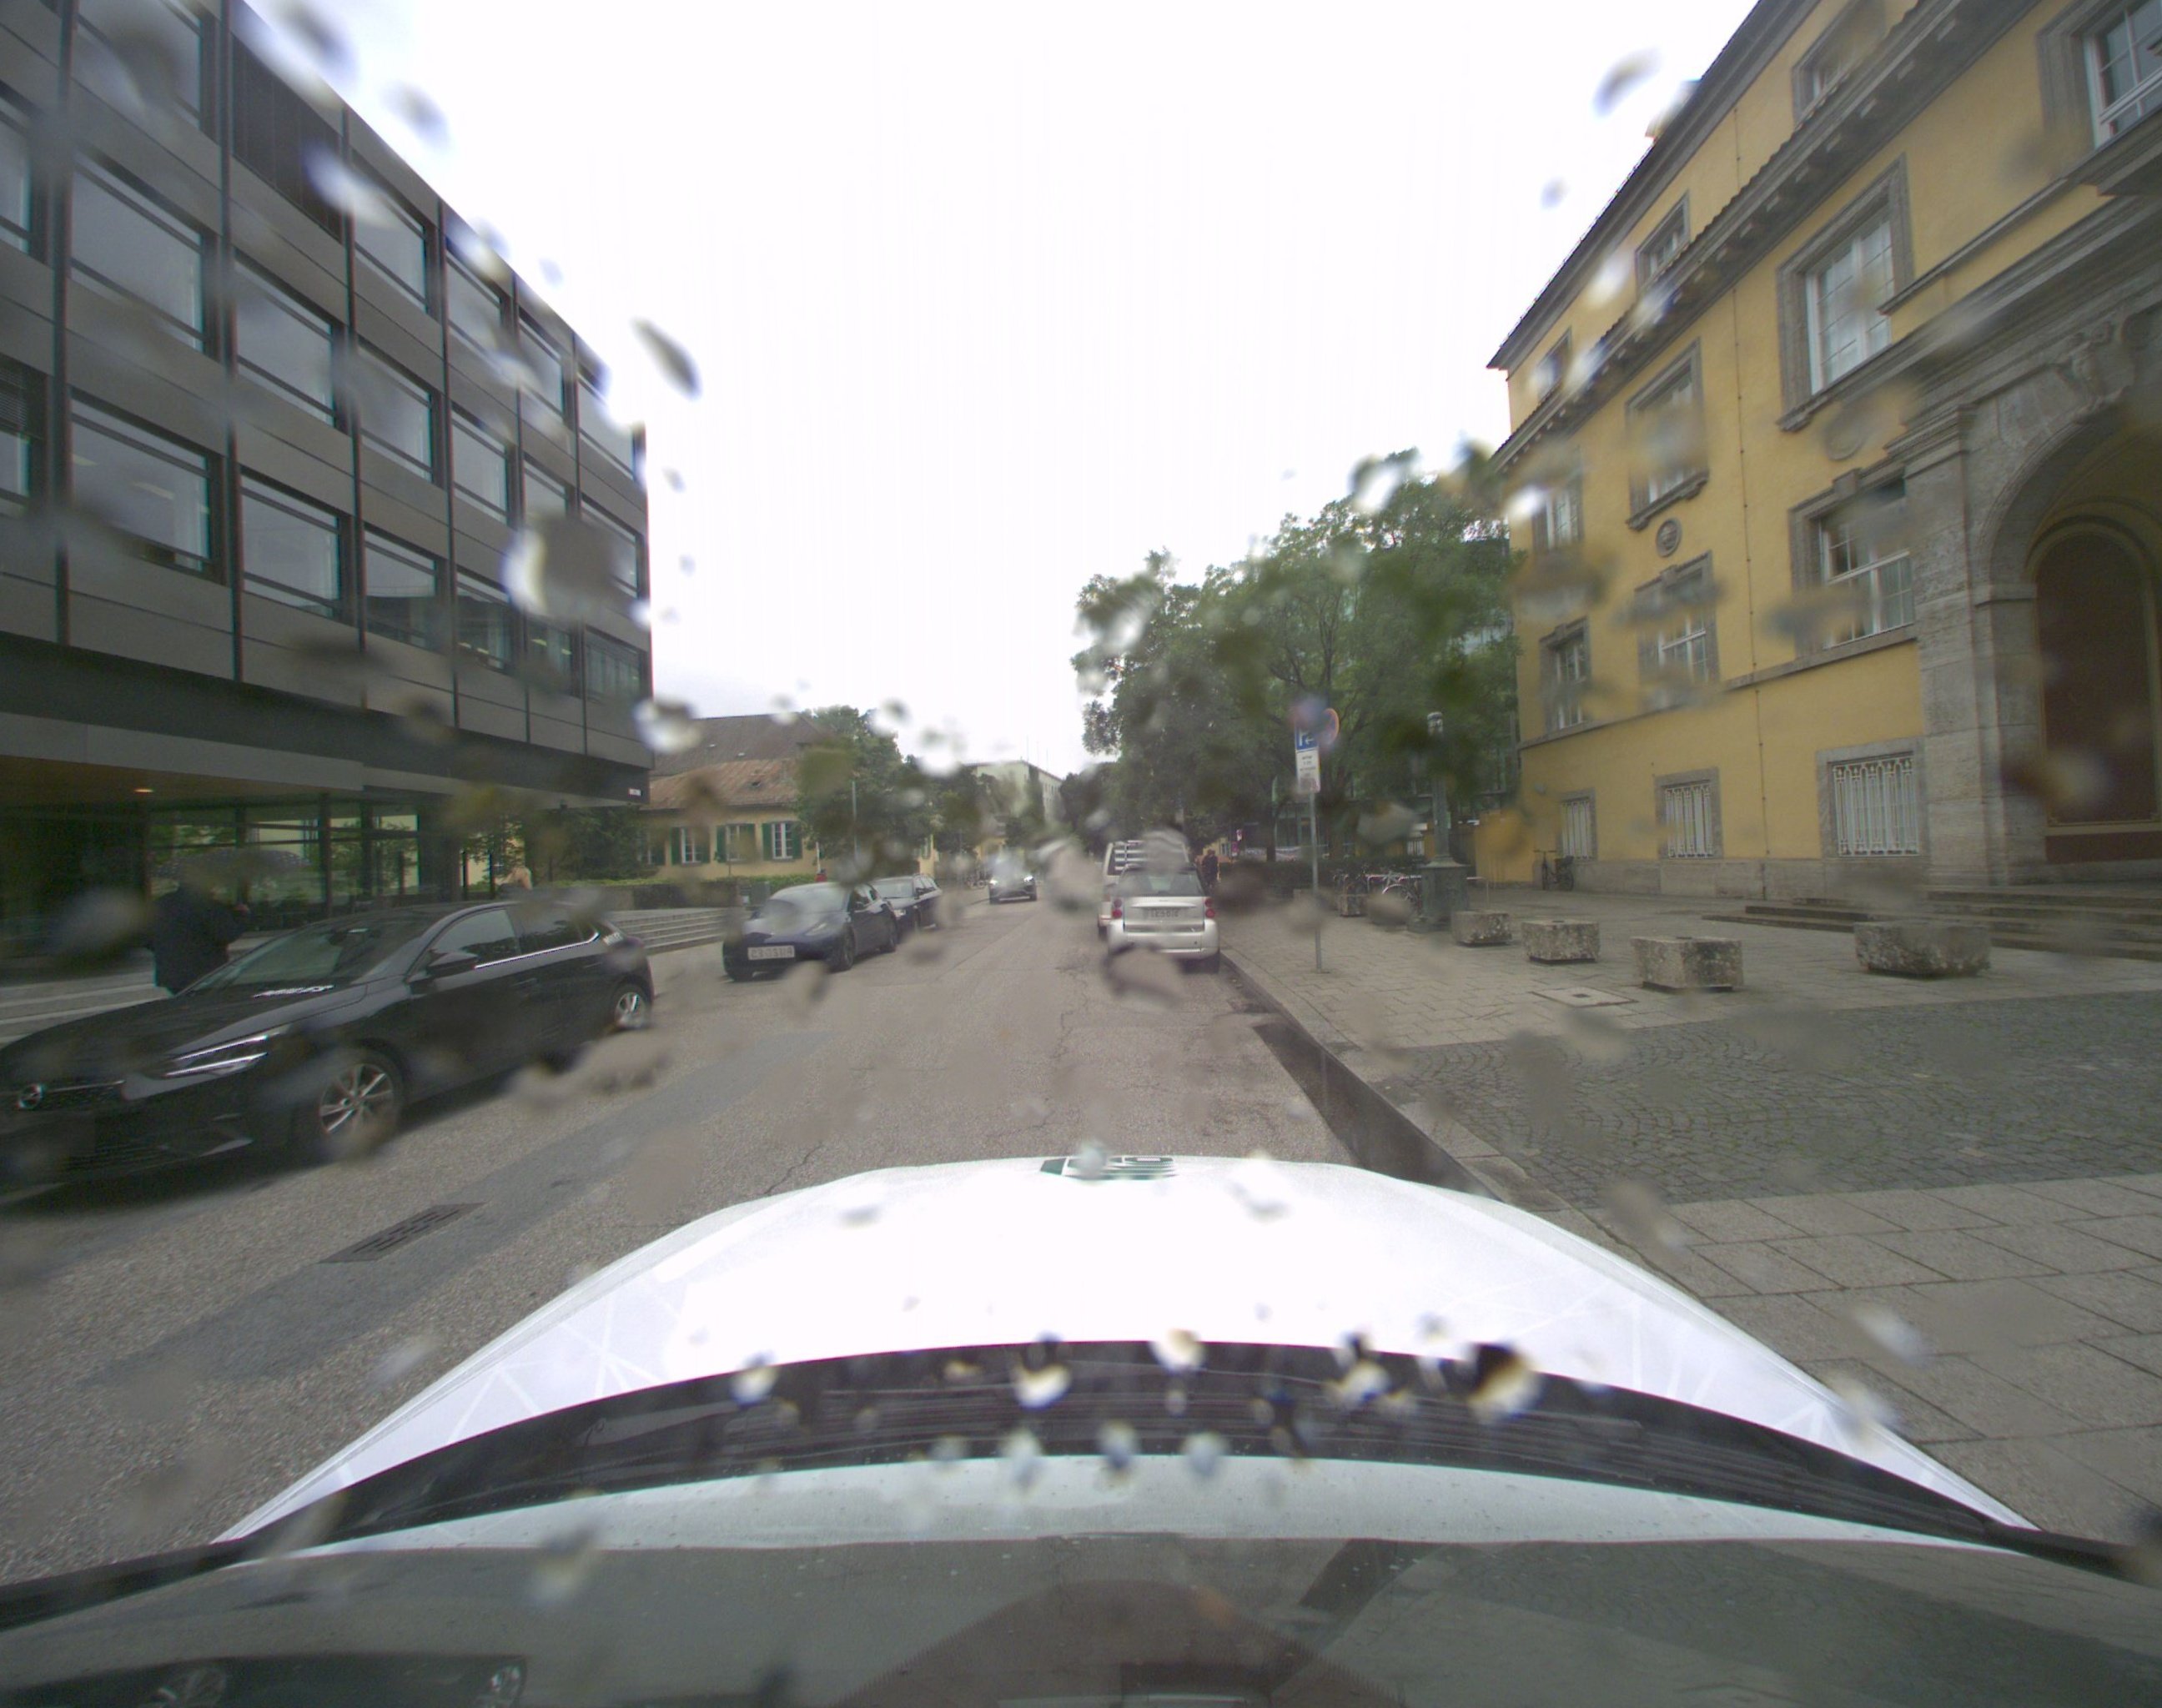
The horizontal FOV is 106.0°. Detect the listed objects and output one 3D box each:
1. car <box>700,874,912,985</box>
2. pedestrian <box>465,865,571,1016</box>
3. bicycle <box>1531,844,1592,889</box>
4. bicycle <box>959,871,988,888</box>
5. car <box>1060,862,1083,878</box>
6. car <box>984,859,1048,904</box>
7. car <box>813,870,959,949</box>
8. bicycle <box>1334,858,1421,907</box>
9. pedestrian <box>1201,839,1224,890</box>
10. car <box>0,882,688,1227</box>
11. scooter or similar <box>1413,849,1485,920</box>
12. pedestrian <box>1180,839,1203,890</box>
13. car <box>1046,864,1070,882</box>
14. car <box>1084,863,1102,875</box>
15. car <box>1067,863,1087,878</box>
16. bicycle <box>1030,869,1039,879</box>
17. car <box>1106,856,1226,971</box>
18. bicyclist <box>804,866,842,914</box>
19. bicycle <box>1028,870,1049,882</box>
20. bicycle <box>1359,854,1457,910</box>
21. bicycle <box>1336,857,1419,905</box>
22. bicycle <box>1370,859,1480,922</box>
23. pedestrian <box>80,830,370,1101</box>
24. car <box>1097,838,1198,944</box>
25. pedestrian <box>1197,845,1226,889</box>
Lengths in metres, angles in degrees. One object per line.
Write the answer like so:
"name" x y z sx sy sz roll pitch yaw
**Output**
"car" -4.509 1.160 14.294 1.916 1.439 4.917 -4 -1 0
"pedestrian" -6.996 1.030 10.172 0.754 1.749 0.948 -2 -1 -14
"bicycle" 13.137 0.331 22.327 0.540 1.154 1.902 -3 0 1
"bicycle" -7.418 1.768 56.213 1.921 1.099 0.615 -1 -1 5
"car" -0.961 1.725 88.043 1.984 1.648 4.661 -2 -1 5
"car" -2.715 1.120 35.277 2.016 1.689 4.681 -3 -1 3
"car" -4.470 1.209 19.558 1.985 1.491 4.887 -4 -1 3
"bicycle" 7.424 0.709 20.442 1.923 1.113 0.472 -4 -1 4
"pedestrian" 5.649 0.441 35.016 0.740 2.135 1.056 -3 -1 1
"car" -4.948 1.059 6.001 1.732 1.461 4.240 -5 -1 3
"scooter or similar" 6.727 0.564 14.904 0.541 1.222 1.000 -3 -1 -43
"pedestrian" 4.766 0.433 35.238 0.740 2.135 1.056 -3 -1 1
"car" -2.115 1.739 75.475 1.725 1.581 3.793 0 -1 5
"car" 1.681 2.027 110.915 1.983 1.486 4.007 -3 -1 7
"car" -0.463 1.903 93.113 1.985 1.603 4.003 -2 -2 4
"bicycle" -4.945 2.141 87.292 0.618 1.004 1.622 -2 -2 8
"car" 1.207 0.822 12.486 1.599 1.546 2.935 0 -1 2
"bicyclist" -8.372 1.156 26.457 1.096 1.498 0.669 -2 -3 -22
"bicycle" -3.700 1.909 71.004 0.615 1.004 2.154 0 0 35
"bicycle" 7.272 0.613 18.147 1.923 1.113 0.472 -4 -1 4
"bicycle" 7.721 0.695 21.225 1.923 1.113 0.472 -4 -1 3
"bicycle" 6.819 0.723 16.192 1.926 1.113 0.471 -4 -1 -1
"pedestrian" -7.115 0.861 6.869 1.131 2.055 1.221 -1 -1 1
"car" 1.278 0.708 17.591 1.838 1.933 5.273 0 -1 1
"pedestrian" 5.818 0.567 36.223 0.735 1.907 1.062 -4 -1 37
